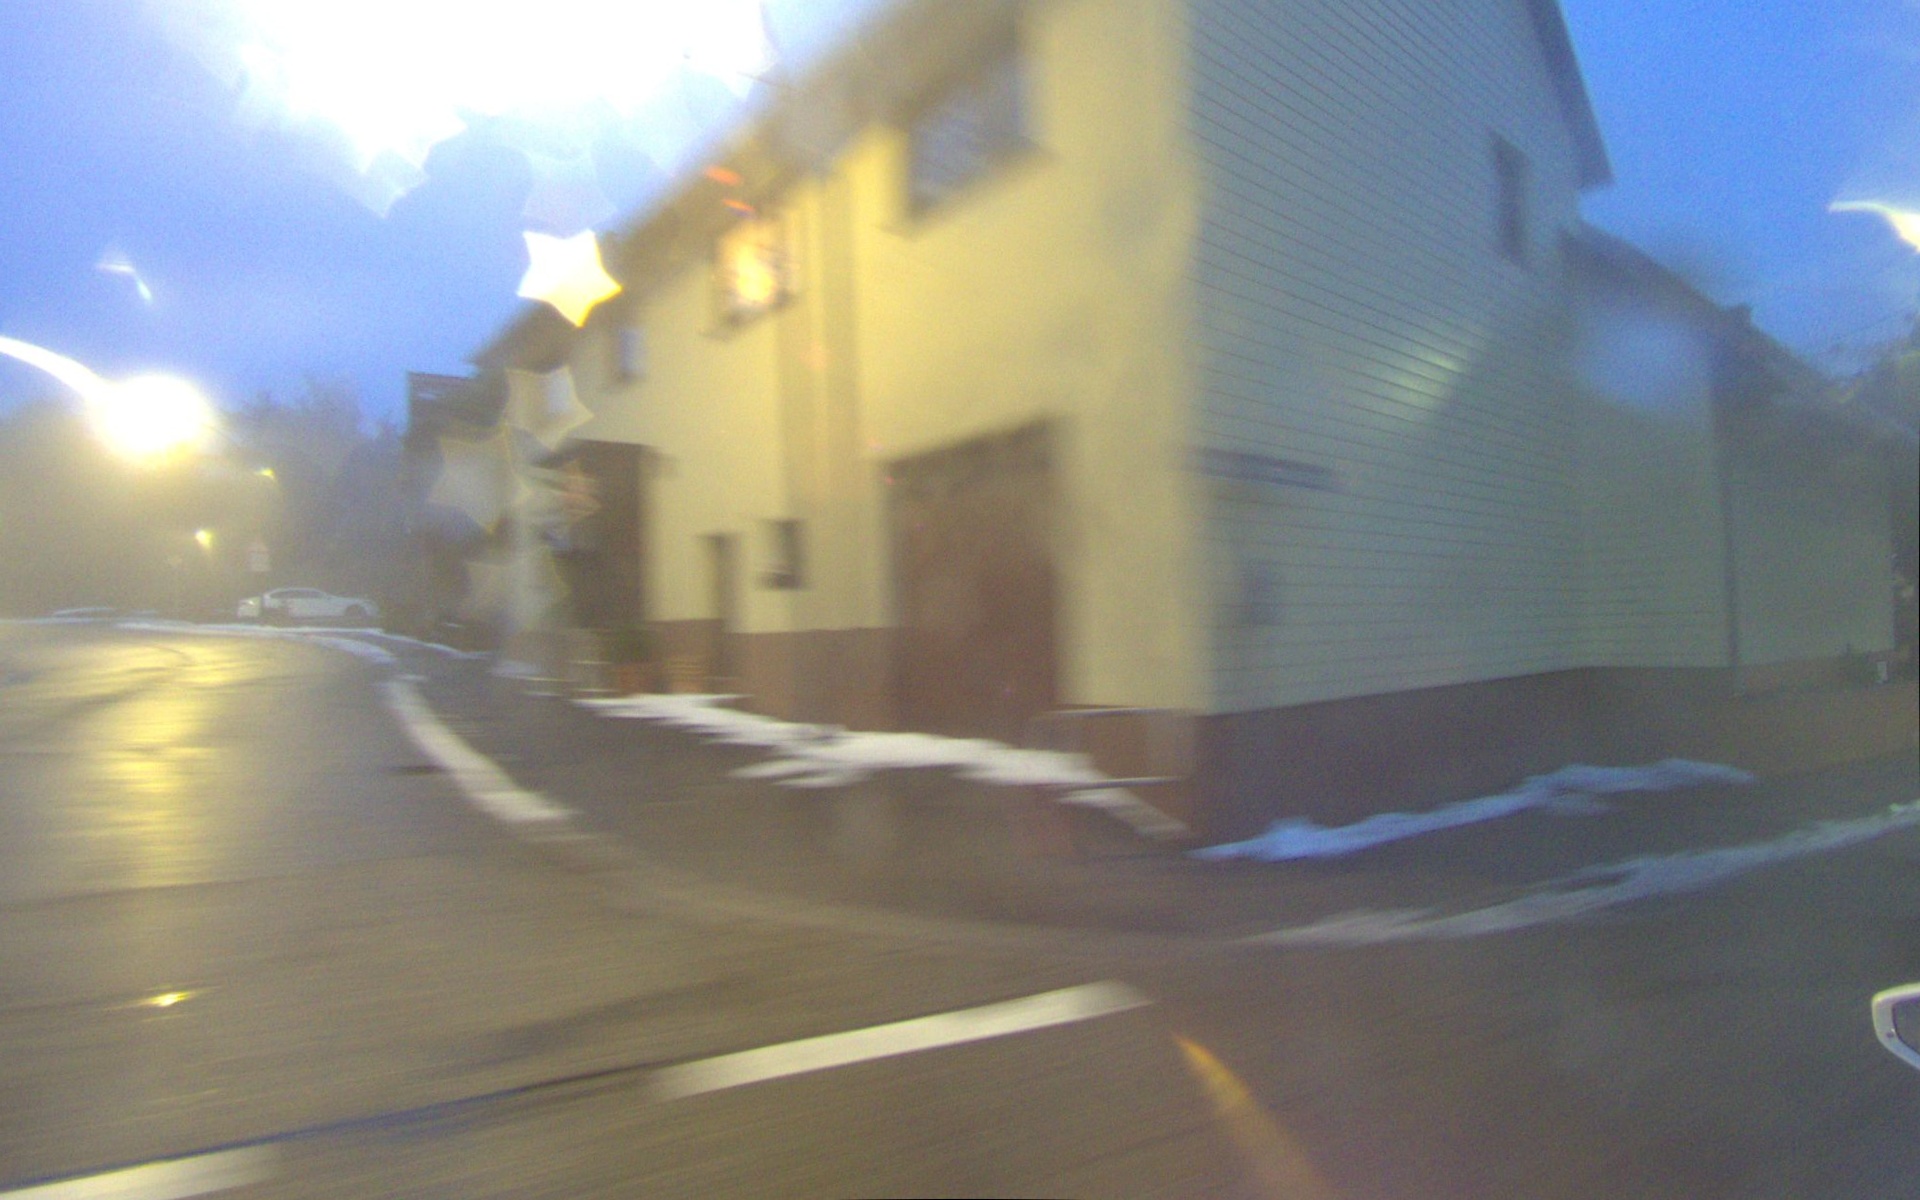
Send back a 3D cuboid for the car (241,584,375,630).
[{"bbox_3d":[-27.379,0.258,42.335,4.620,1.829,1.982,-1,1,-33],"label":"car"}]
